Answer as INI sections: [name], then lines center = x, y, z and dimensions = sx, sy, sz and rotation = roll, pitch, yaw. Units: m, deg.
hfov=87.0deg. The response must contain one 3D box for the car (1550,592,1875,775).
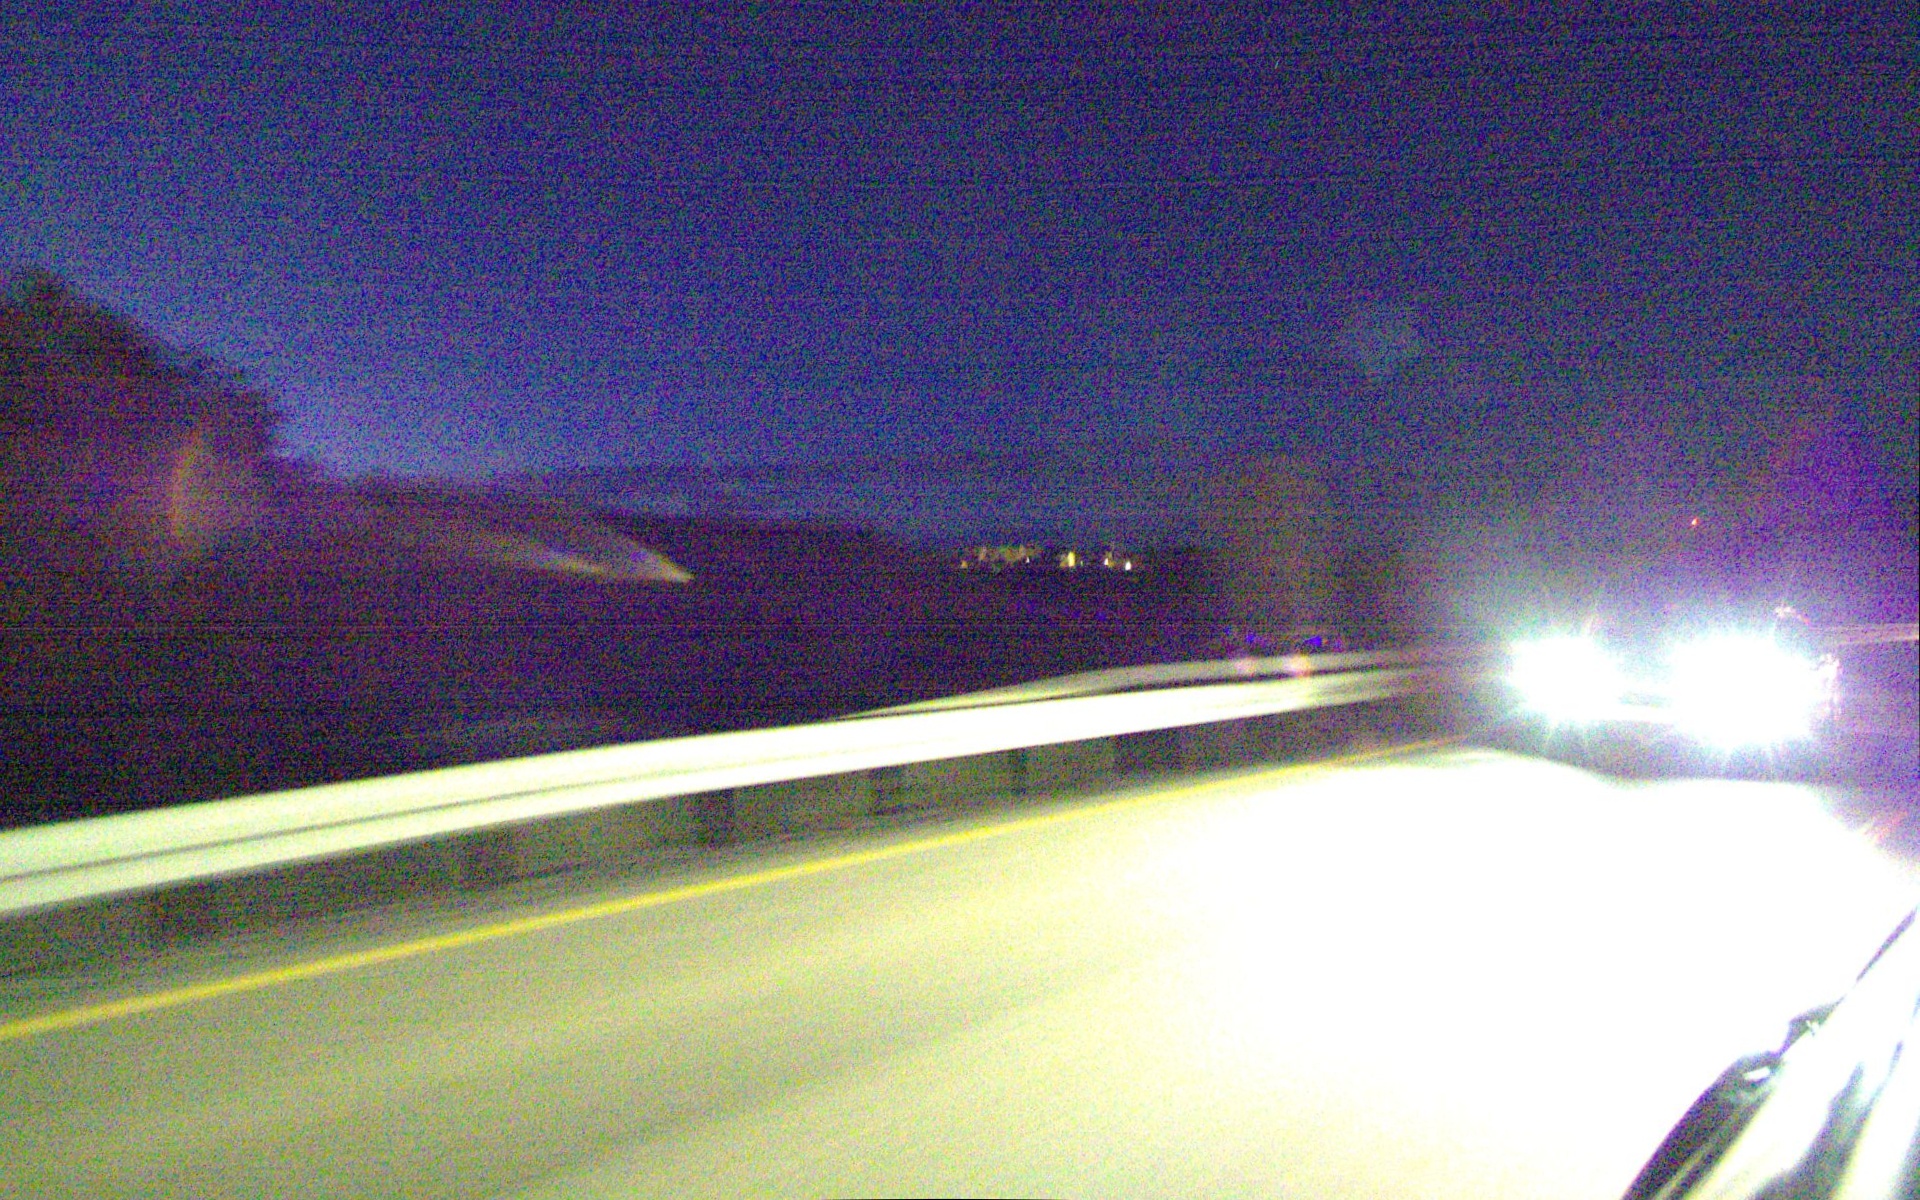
[car]
center = 8.060, 0.672, 10.644
dimensions = 4.791, 1.444, 1.811
rotation = -1, 1, -42
